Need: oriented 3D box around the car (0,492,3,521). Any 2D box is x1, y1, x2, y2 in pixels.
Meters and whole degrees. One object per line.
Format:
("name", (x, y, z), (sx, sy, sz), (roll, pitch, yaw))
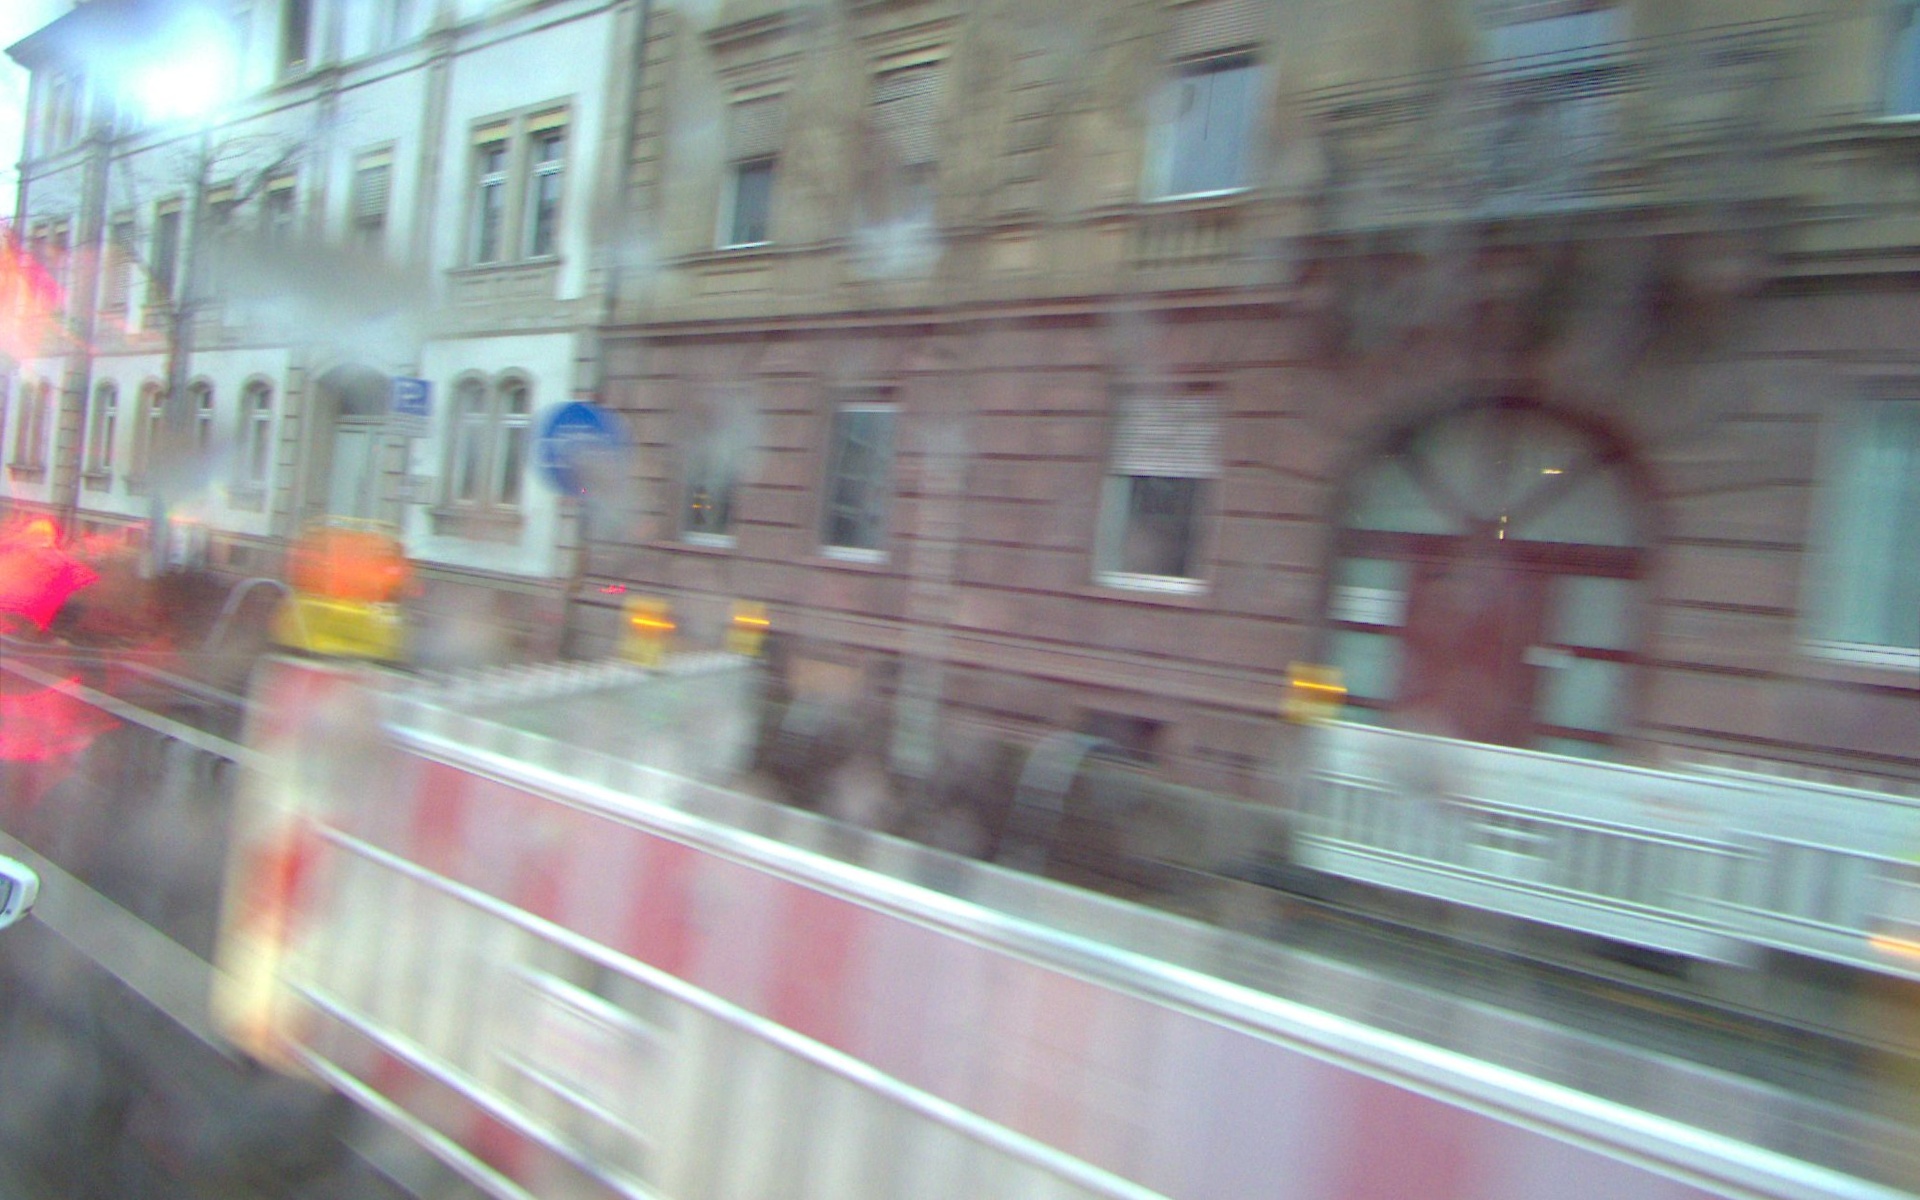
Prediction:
("car", (-39.405, -3.696, 38.259), (3.961, 1.579, 1.835), (8, -1, -33))
